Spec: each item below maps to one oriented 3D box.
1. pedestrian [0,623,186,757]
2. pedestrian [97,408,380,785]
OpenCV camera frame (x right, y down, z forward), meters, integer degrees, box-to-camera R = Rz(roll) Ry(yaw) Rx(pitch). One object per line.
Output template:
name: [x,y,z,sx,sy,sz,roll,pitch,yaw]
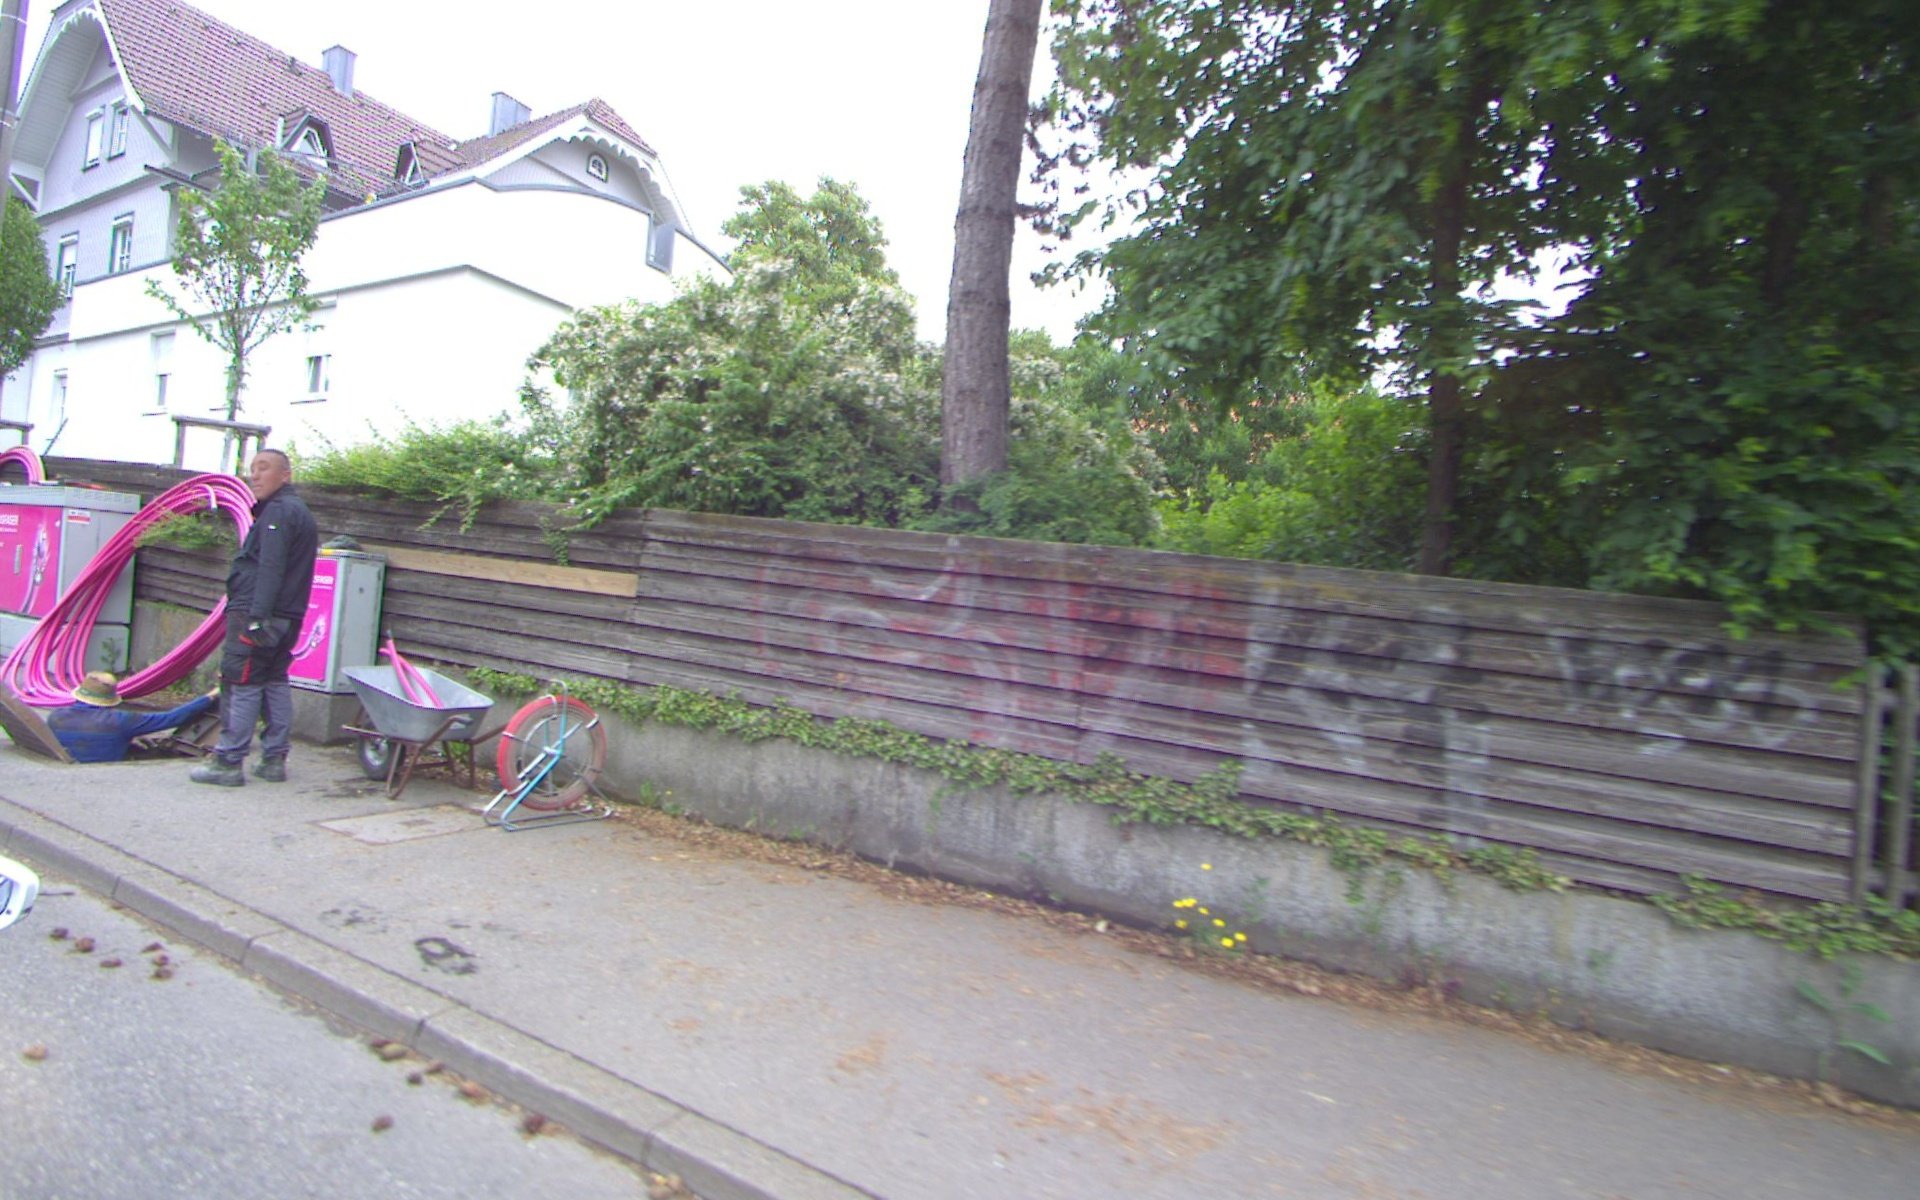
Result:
pedestrian: [-5.329,0.538,6.216,0.575,0.705,0.645,7,0,-11]
pedestrian: [-4.132,-0.011,5.830,0.786,1.947,0.849,7,0,10]
